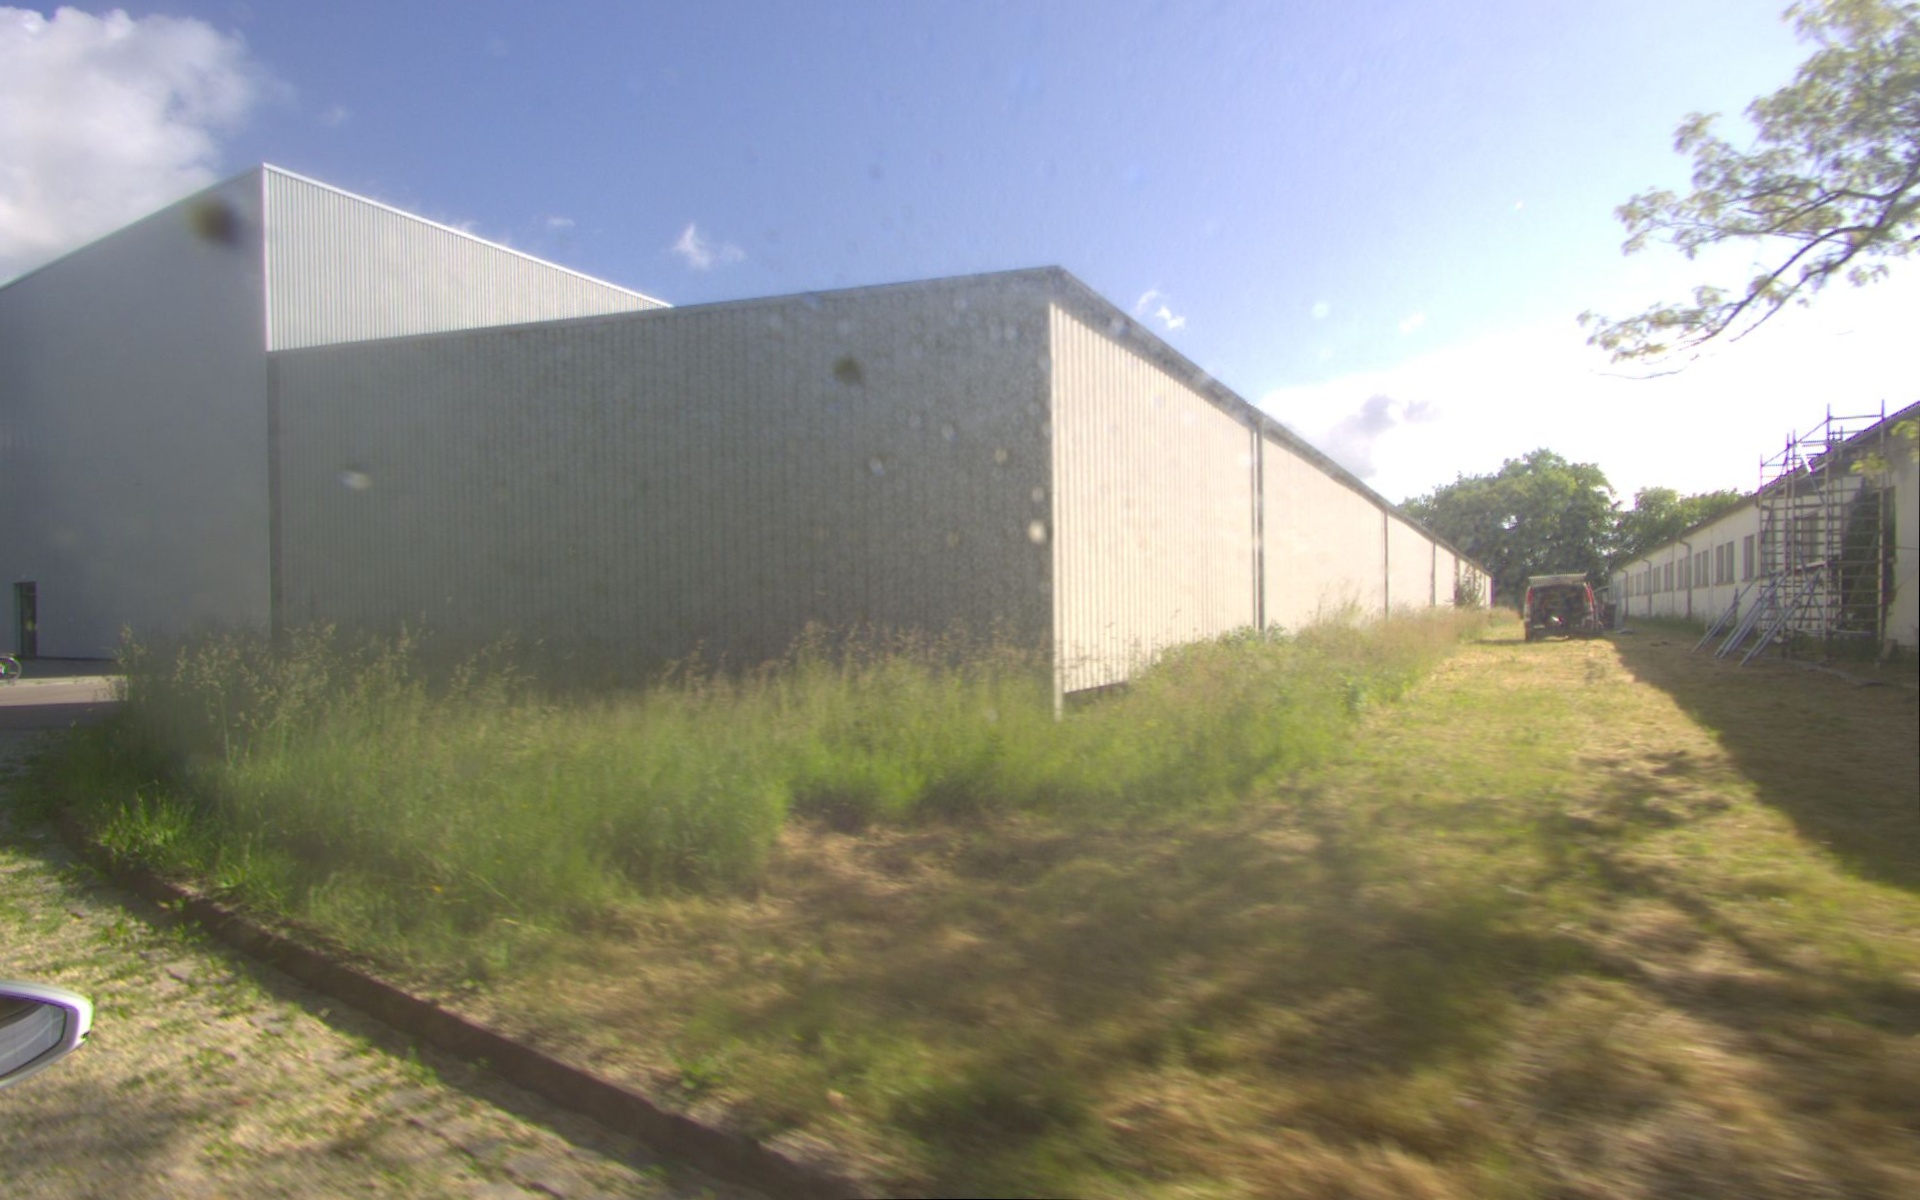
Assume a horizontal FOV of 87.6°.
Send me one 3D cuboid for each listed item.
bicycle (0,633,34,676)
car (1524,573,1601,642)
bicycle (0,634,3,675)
[{"bbox_3d":[-24.280,1.369,24.890,0.452,1.076,1.799,0,0,25],"label":"bicycle"},{"bbox_3d":[19.070,0.252,31.773,1.970,2.040,3.981,-1,0,30],"label":"car"},{"bbox_3d":[-26.403,1.453,26.276,0.517,1.096,1.788,0,0,32],"label":"bicycle"}]
